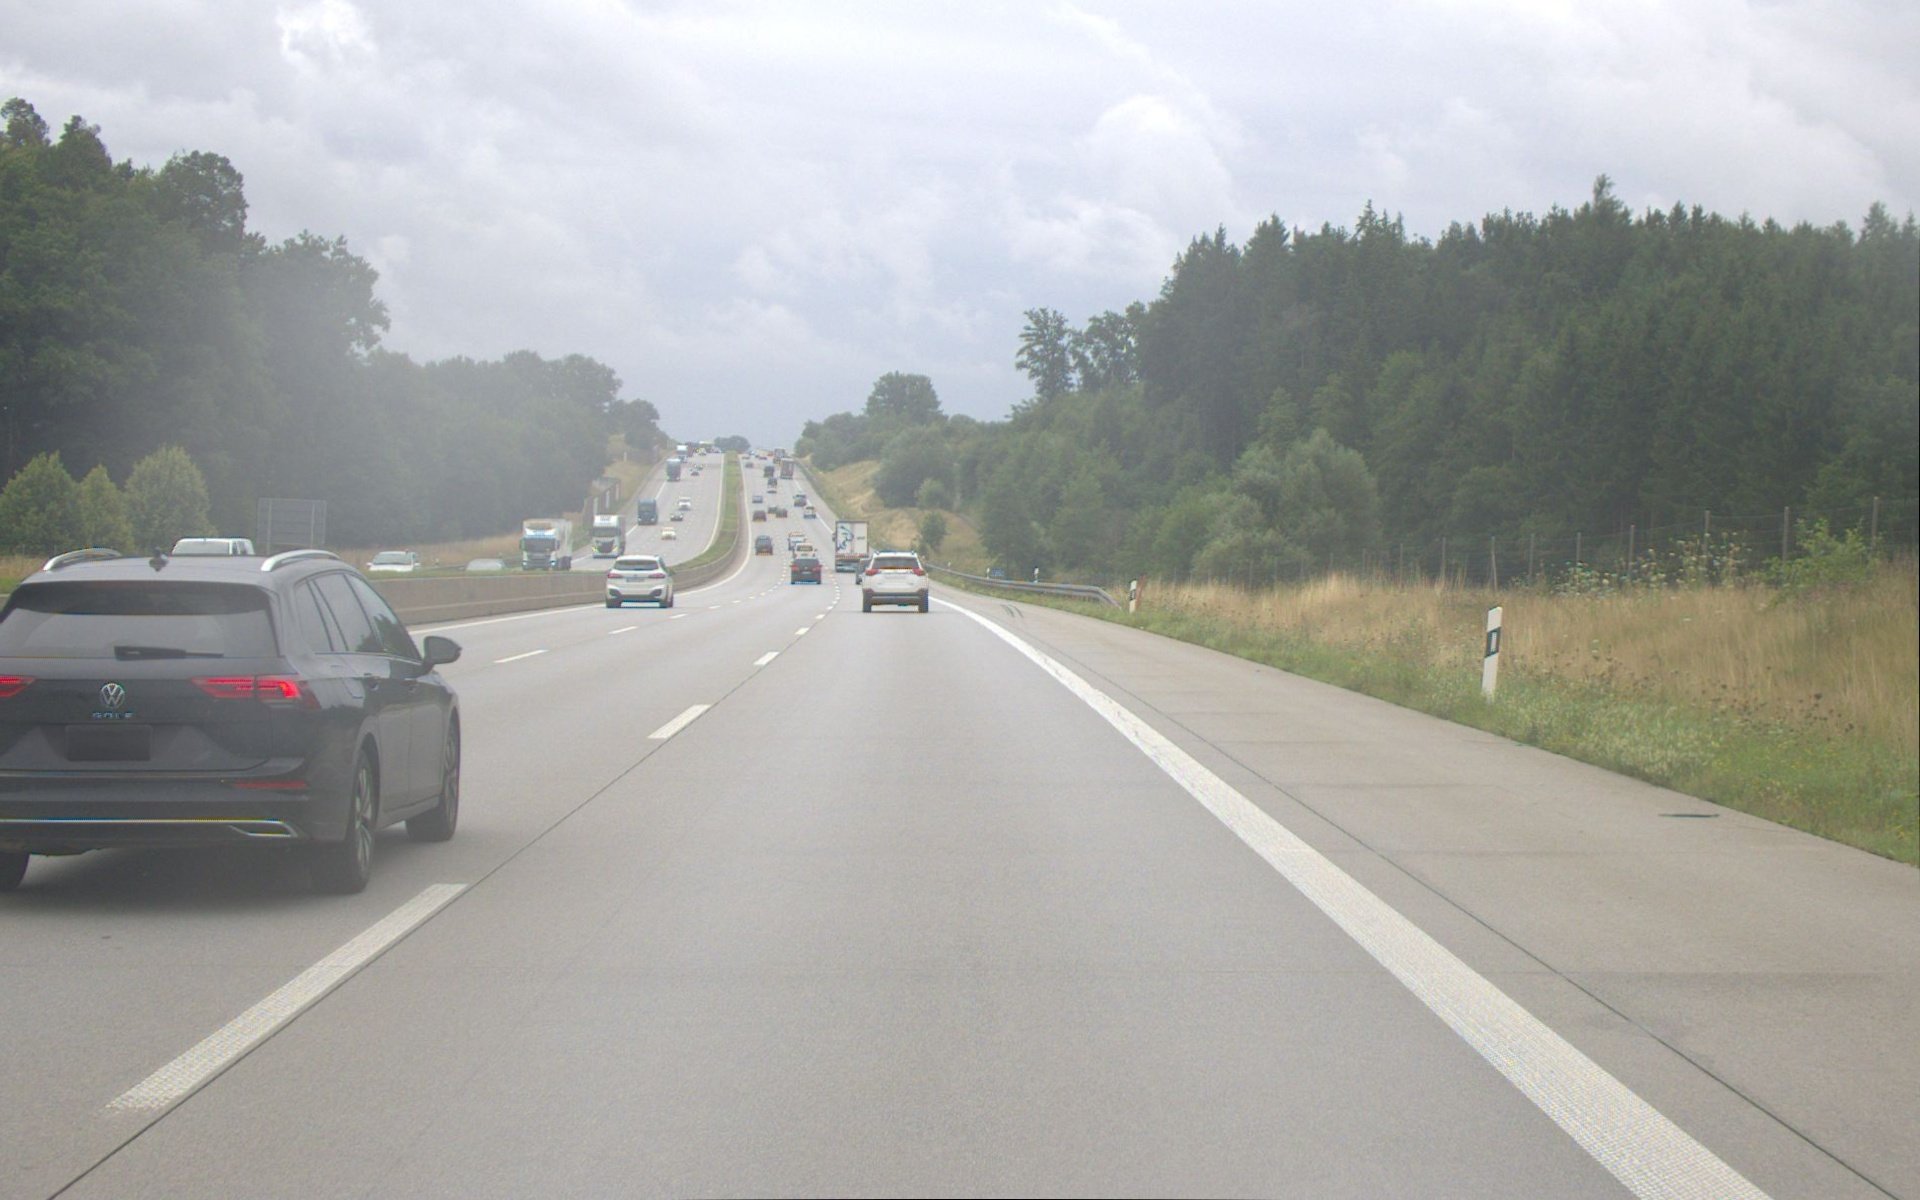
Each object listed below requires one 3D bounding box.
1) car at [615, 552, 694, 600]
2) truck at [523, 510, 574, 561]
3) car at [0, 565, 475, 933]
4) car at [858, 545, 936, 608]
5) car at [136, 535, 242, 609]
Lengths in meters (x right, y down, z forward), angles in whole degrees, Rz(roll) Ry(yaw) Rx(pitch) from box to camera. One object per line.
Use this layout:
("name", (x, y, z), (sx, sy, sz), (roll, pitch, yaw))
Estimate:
("car", (-9.039, -0.726, 101.978), (1.947, 1.351, 4.260), (1, 1, 0))
("truck", (-30.896, -4.803, 258.512), (2.813, 3.760, 11.352), (1, 1, -2))
("car", (-3.409, 0.564, 15.775), (1.752, 1.393, 4.484), (1, 1, 0))
("car", (-1.753, -0.655, 94.779), (1.825, 1.650, 3.986), (1, 1, -5))
("car", (-21.088, -0.802, 94.243), (1.993, 1.949, 5.627), (1, 1, -4))
